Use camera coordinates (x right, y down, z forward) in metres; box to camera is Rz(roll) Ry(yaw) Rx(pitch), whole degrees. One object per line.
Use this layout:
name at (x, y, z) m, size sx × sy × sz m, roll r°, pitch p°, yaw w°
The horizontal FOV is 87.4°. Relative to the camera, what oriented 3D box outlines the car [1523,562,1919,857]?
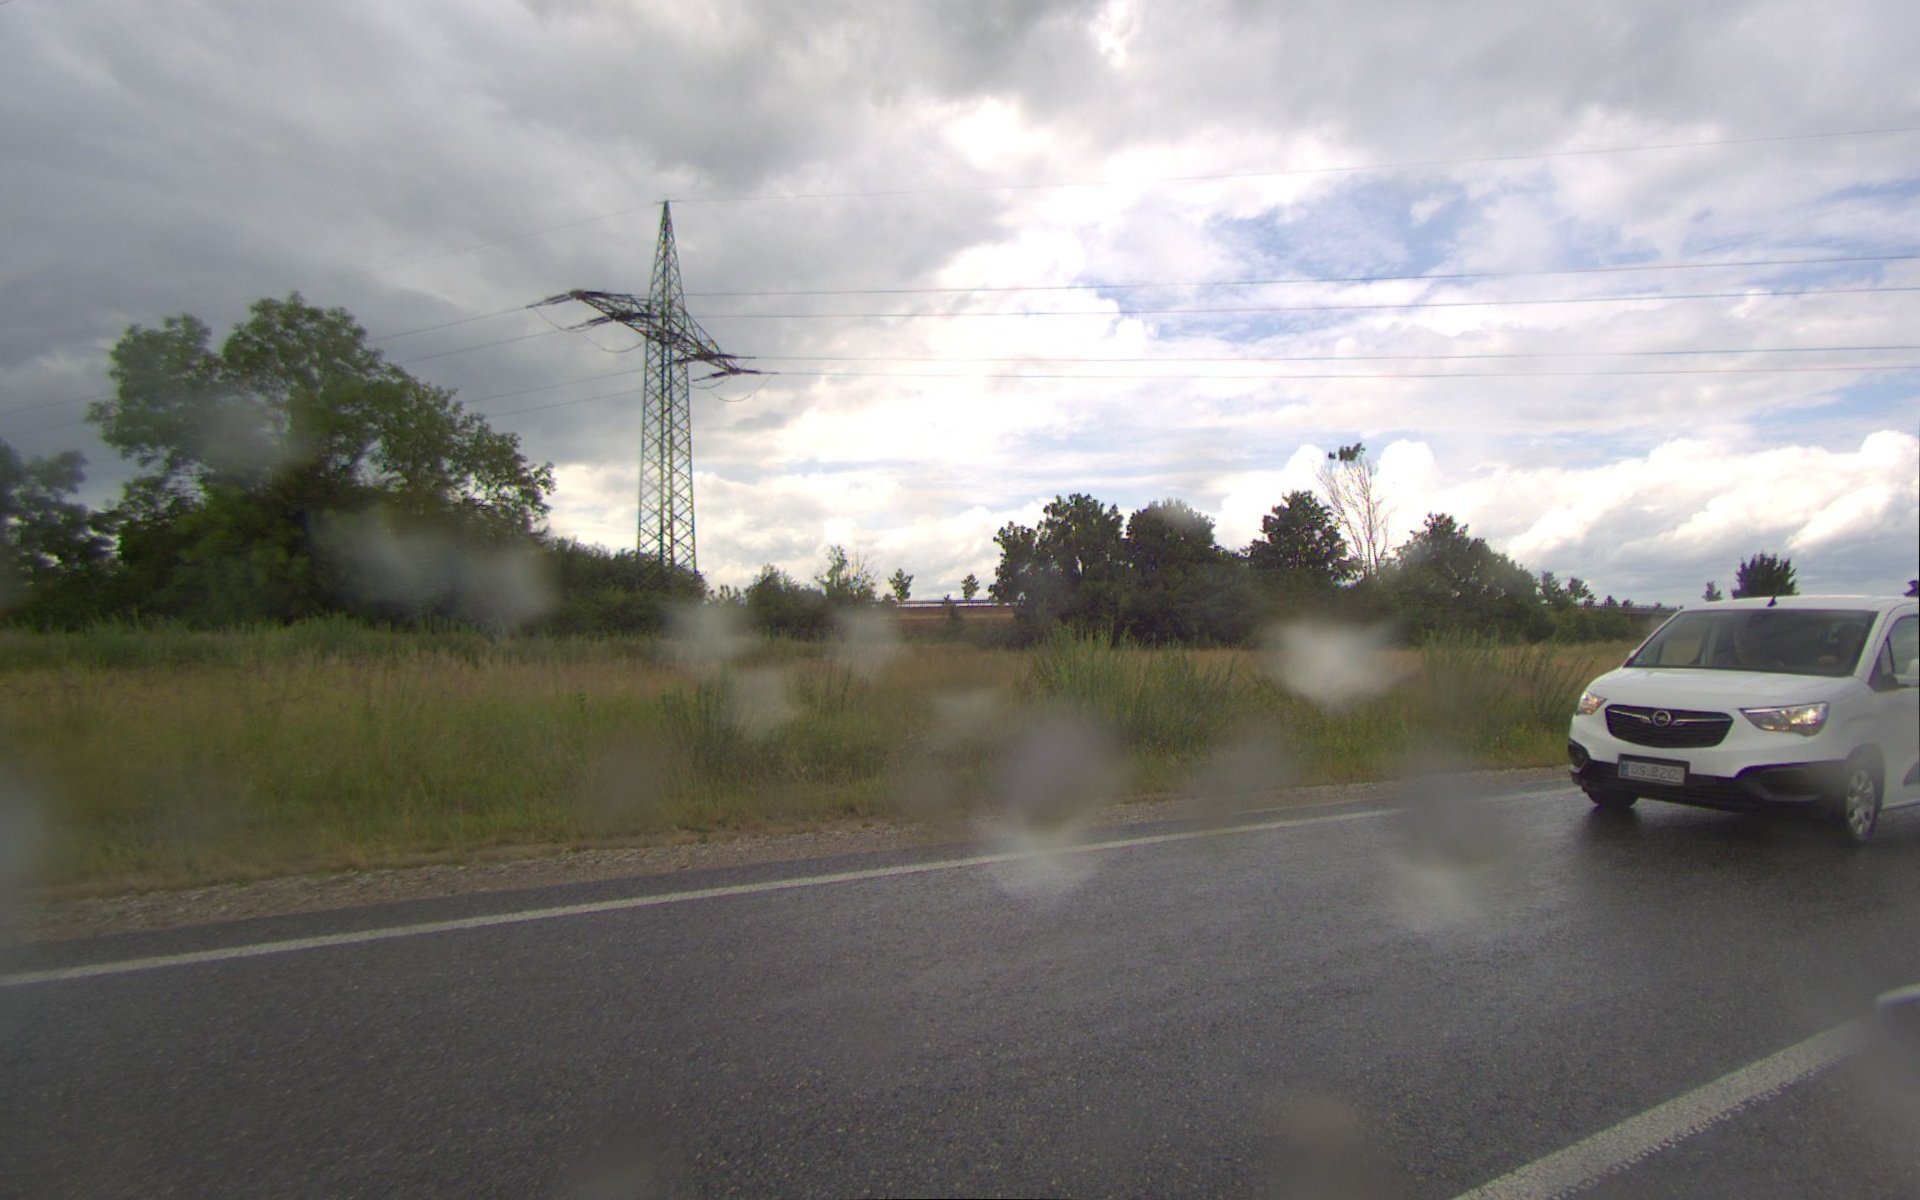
car at (6.873, 0.778, 8.271) m, size 4.392 × 1.880 × 1.837 m, roll 2°, pitch -1°, yaw -28°
